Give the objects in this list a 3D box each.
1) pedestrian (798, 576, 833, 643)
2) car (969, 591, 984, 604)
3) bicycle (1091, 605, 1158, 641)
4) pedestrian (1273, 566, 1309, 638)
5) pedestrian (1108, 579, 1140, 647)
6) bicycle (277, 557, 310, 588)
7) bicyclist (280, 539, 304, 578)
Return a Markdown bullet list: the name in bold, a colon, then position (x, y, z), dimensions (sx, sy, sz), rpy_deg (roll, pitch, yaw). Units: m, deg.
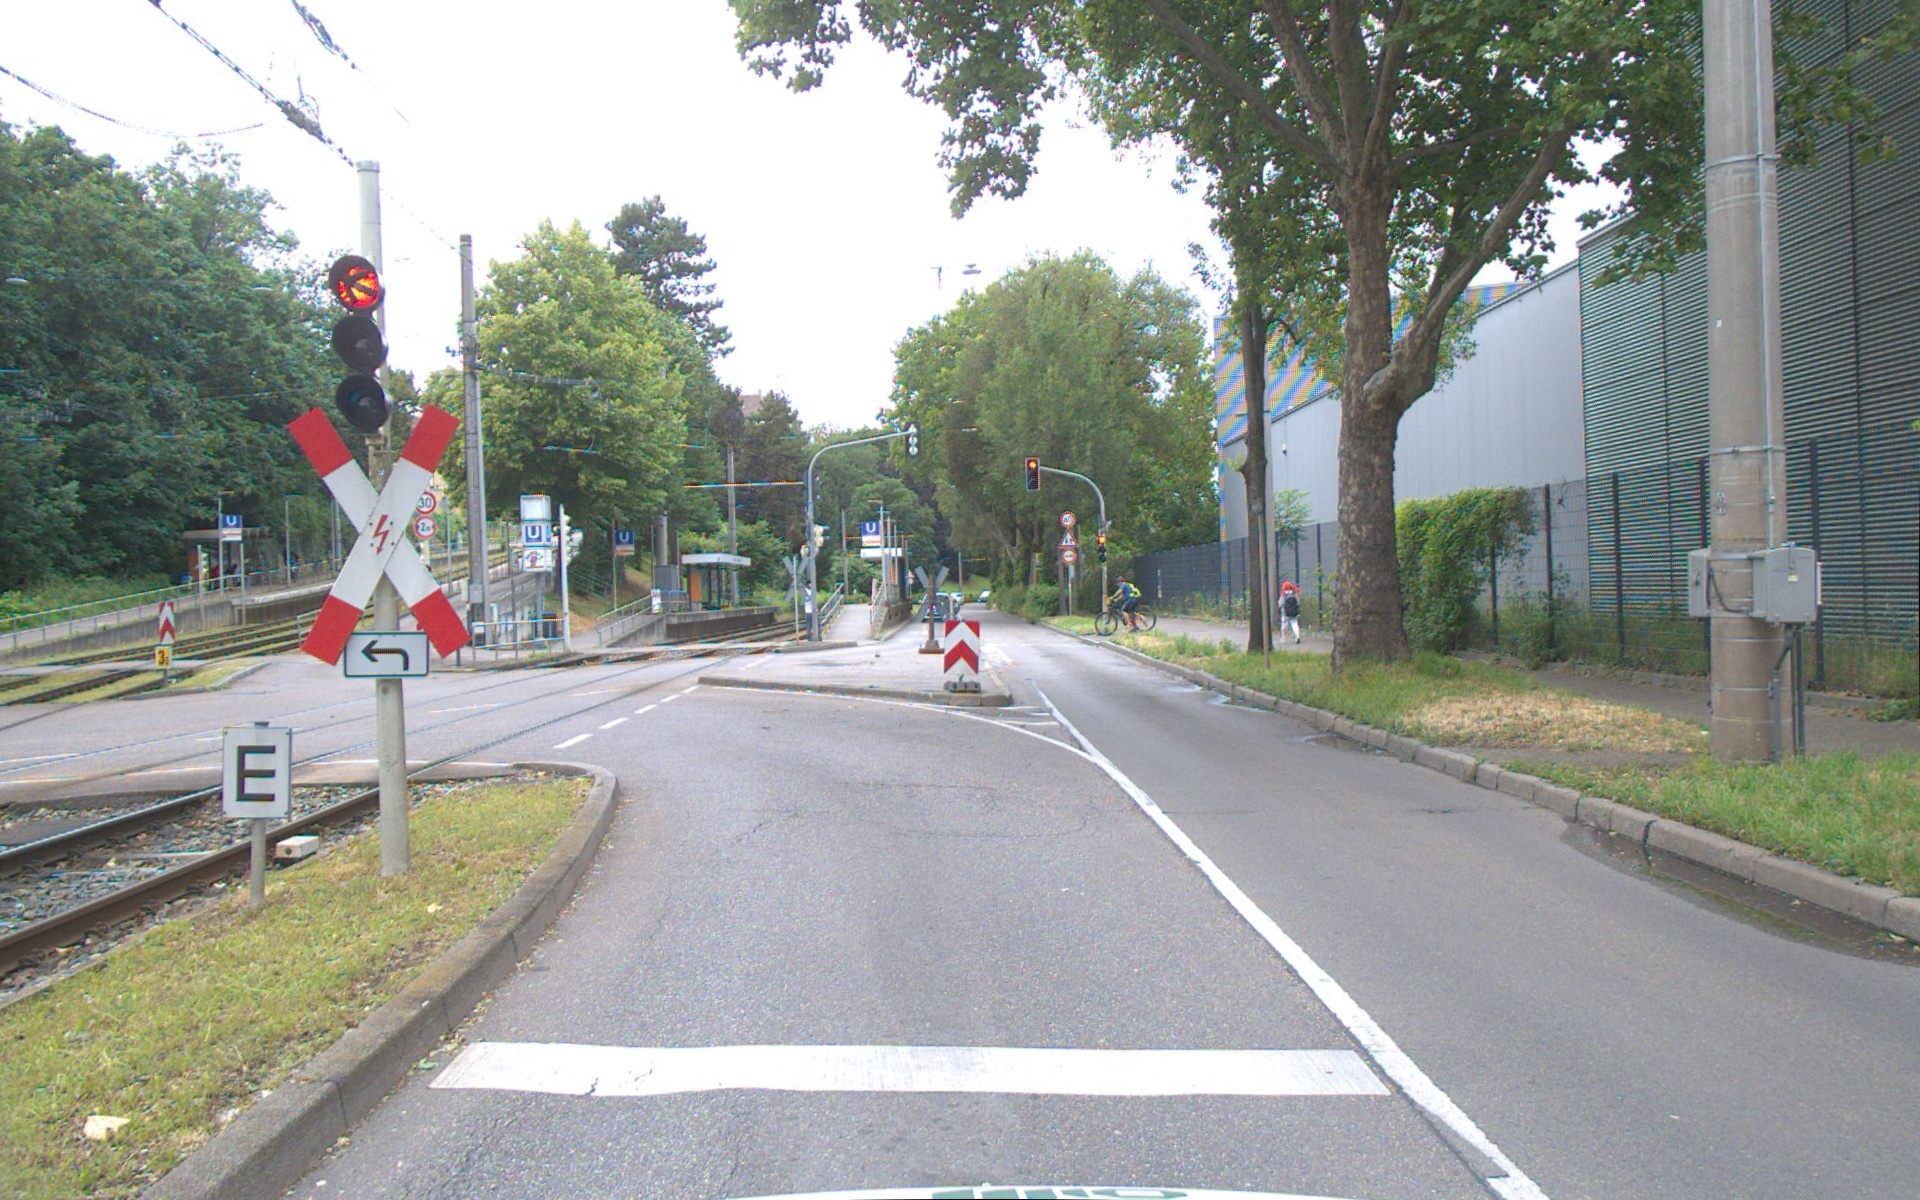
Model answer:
- **pedestrian**: position (-4.158, 0.280, 47.583), dimensions (0.888, 1.885, 0.771), rpy_deg (-2, 0, -1)
- **car**: position (2.247, -0.331, 224.802), dimensions (1.953, 1.690, 4.000), rpy_deg (4, 1, 0)
- **bicycle**: position (5.091, 0.721, 51.293), dimensions (2.031, 1.024, 0.668), rpy_deg (-2, 0, 5)
- **pedestrian**: position (7.490, 0.038, 37.505), dimensions (0.652, 1.580, 0.935), rpy_deg (-2, 0, 5)
- **pedestrian**: position (5.094, 0.399, 51.303), dimensions (0.911, 2.049, 0.668), rpy_deg (-2, 0, 4)
- **bicycle**: position (-32.816, -1.365, 81.461), dimensions (0.809, 1.366, 2.991), rpy_deg (-2, 3, -9)
- **bicyclist**: position (-32.779, -2.026, 81.144), dimensions (0.806, 1.881, 1.050), rpy_deg (-2, 3, -9)
